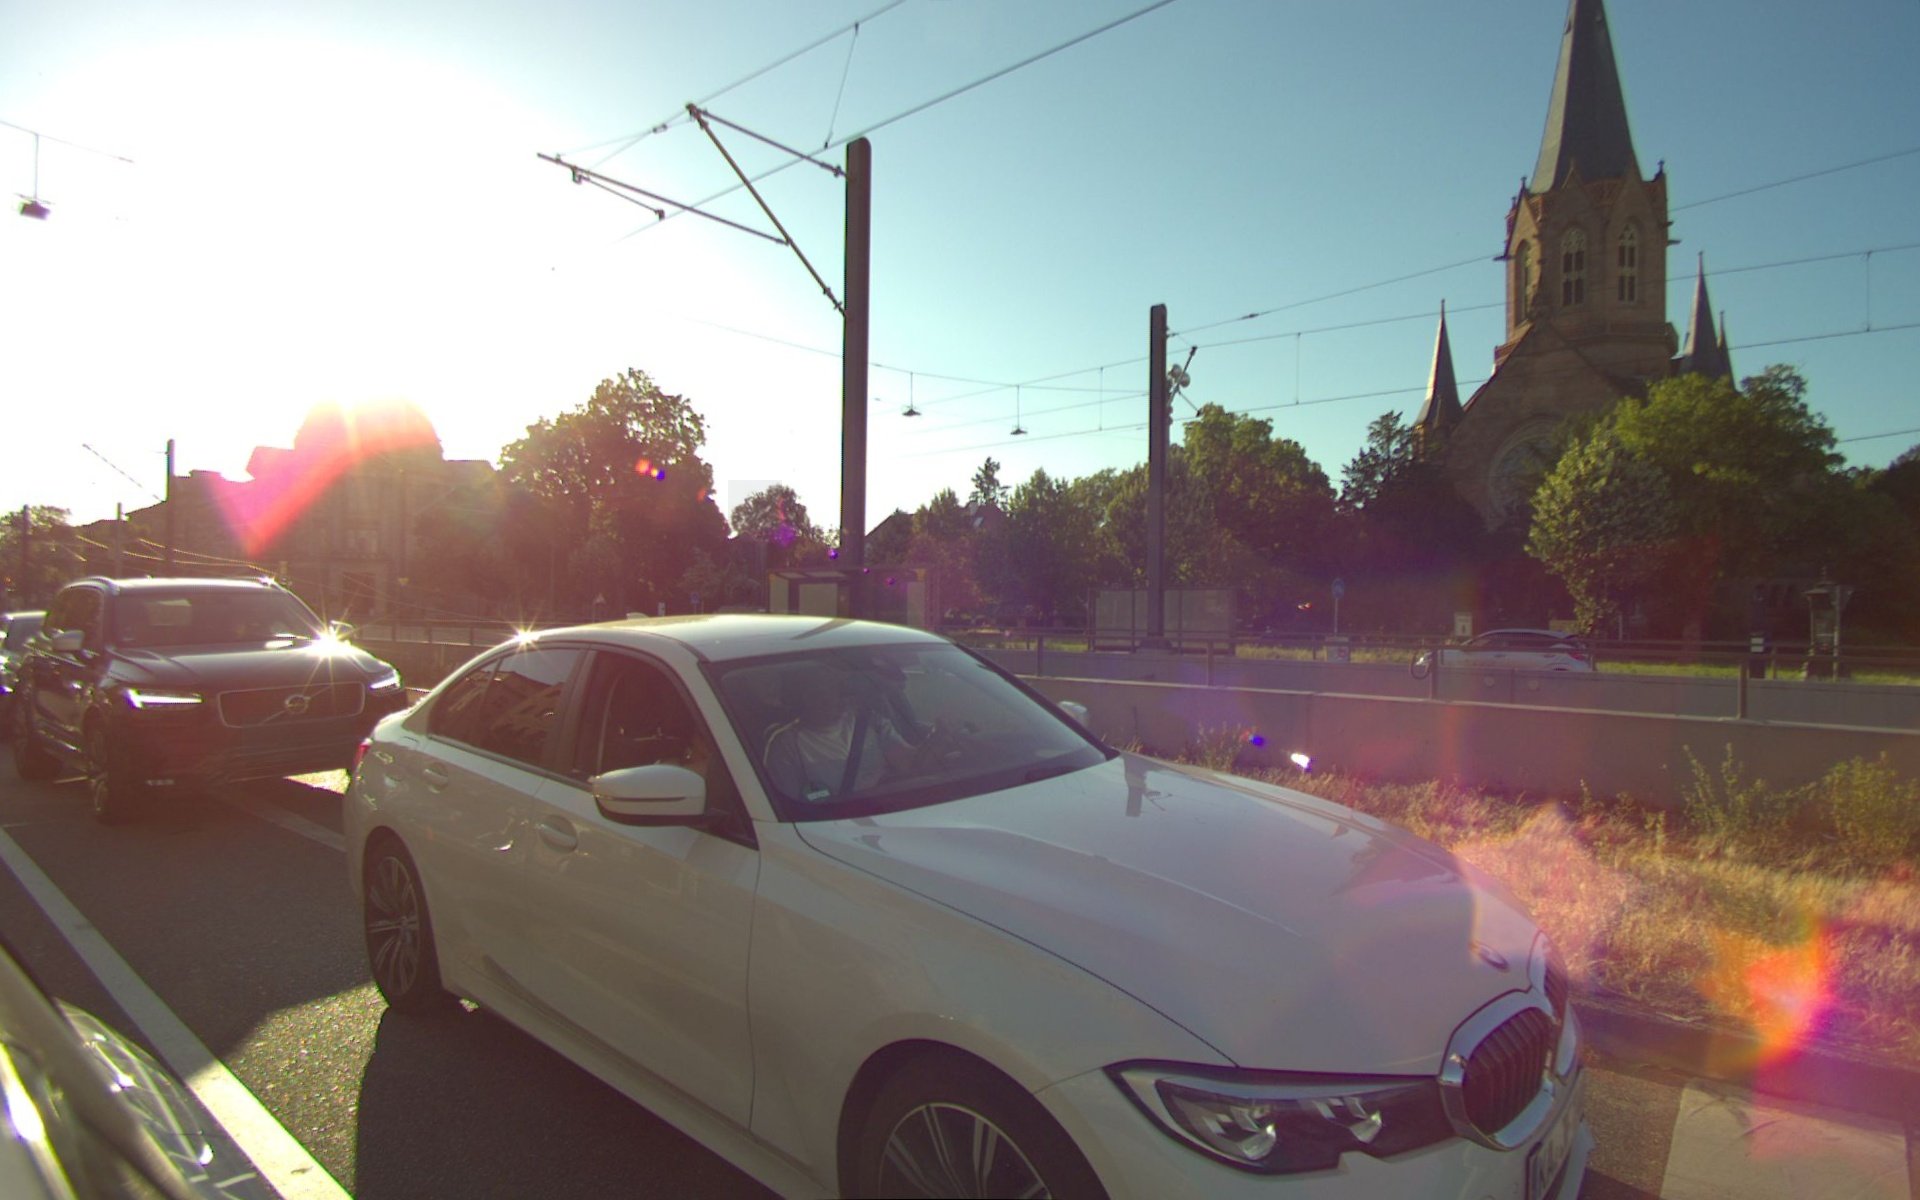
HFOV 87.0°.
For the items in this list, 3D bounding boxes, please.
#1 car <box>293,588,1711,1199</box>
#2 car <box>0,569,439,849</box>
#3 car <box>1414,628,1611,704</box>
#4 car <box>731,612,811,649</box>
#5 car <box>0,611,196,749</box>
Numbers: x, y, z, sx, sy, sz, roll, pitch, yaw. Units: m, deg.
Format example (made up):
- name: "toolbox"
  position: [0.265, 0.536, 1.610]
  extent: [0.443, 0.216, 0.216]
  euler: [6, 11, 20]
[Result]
- name: "car"
  position: [-0.444, 0.716, 3.357]
  extent: [4.582, 1.411, 1.818]
  euler: [-1, 1, 42]
- name: "car"
  position: [-6.482, 0.669, 8.507]
  extent: [4.845, 1.725, 1.932]
  euler: [-1, 1, 39]
- name: "car"
  position: [12.568, 1.429, 23.111]
  extent: [3.672, 1.552, 1.692]
  euler: [-1, -2, 42]
- name: "car"
  position: [-9.140, 1.458, 48.763]
  extent: [4.089, 1.708, 1.692]
  euler: [-1, -2, 42]
- name: "car"
  position: [-11.185, 0.871, 12.669]
  extent: [3.917, 1.411, 1.792]
  euler: [-1, 1, 41]
